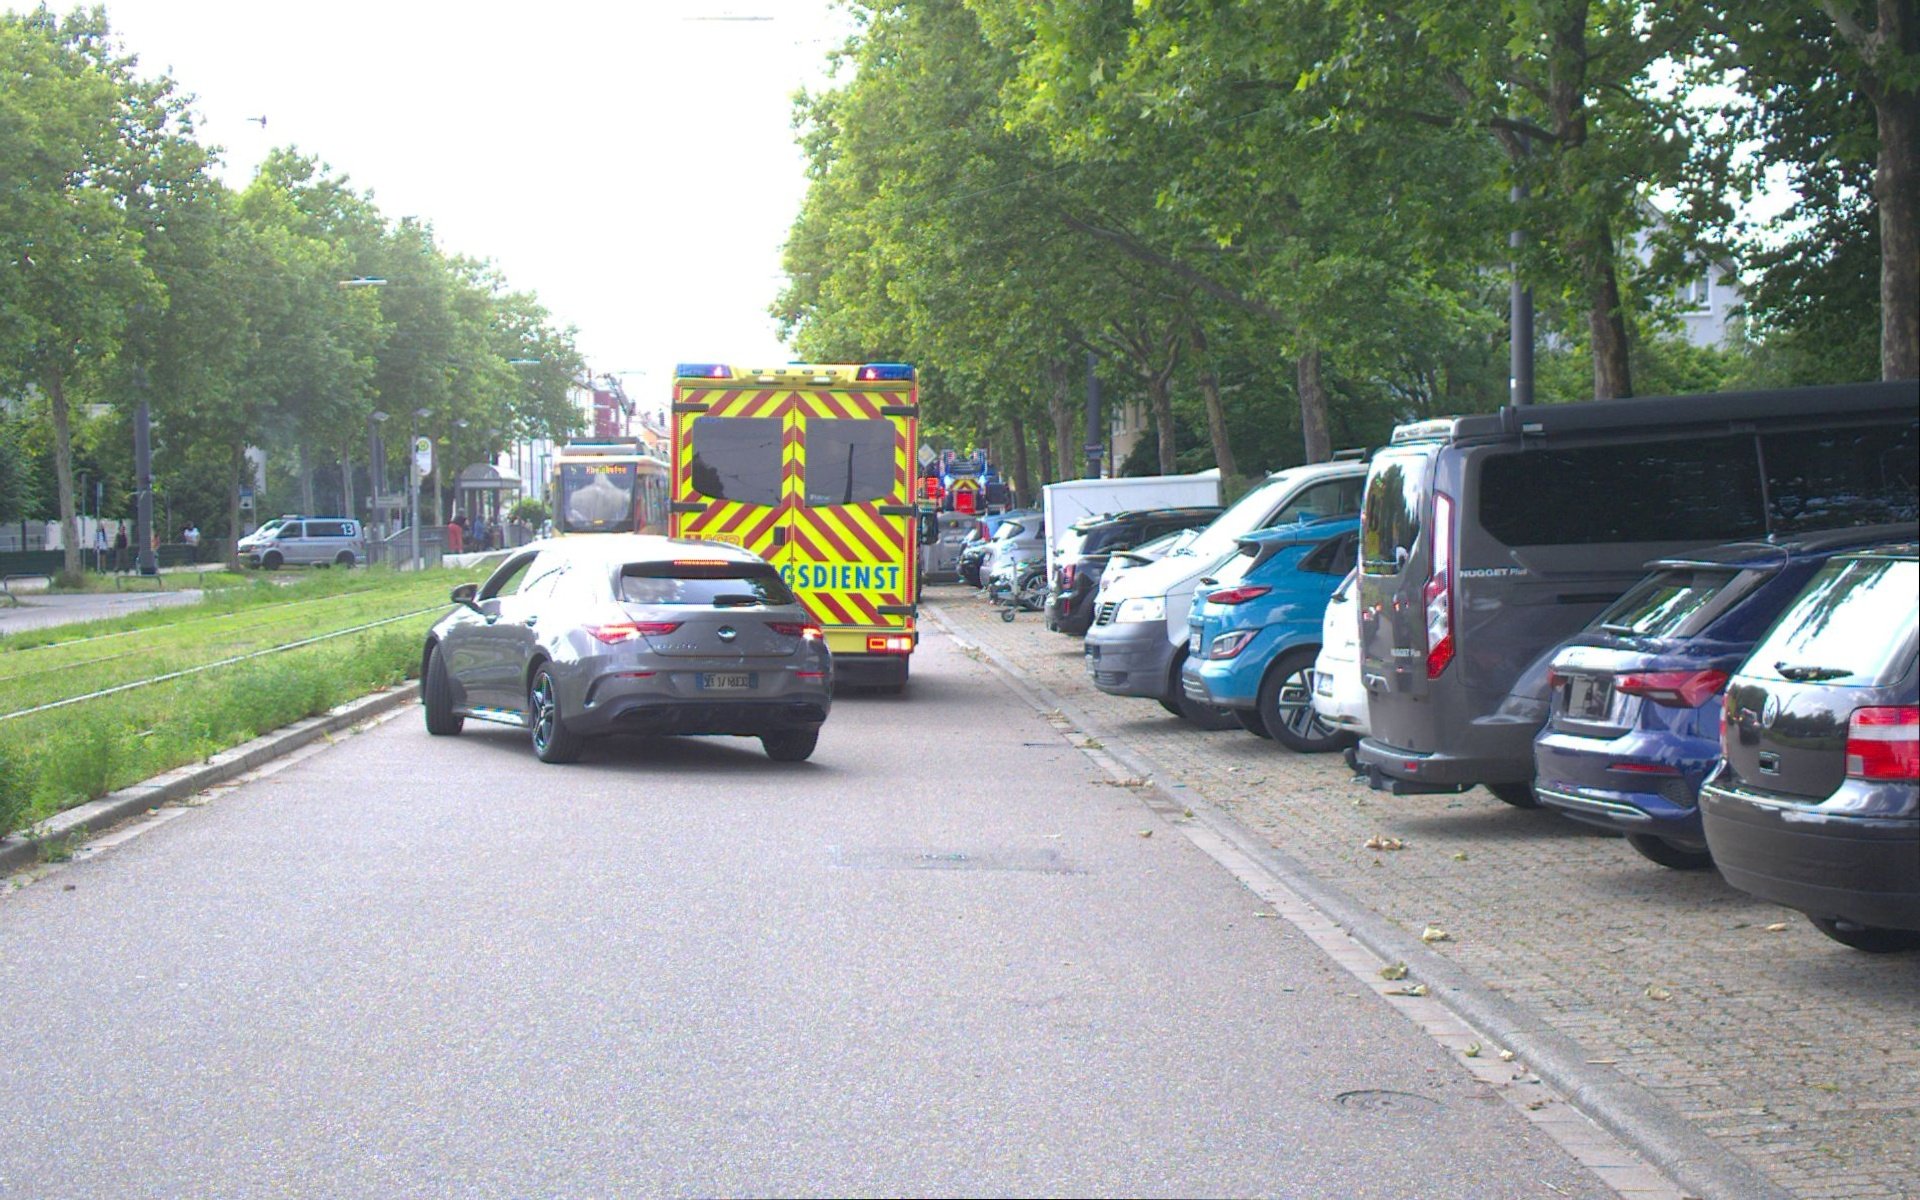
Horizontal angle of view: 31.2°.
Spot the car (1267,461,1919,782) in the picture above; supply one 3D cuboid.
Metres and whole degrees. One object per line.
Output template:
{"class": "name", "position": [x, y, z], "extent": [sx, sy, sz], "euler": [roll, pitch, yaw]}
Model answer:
{"class": "car", "position": [4.284, 0.086, 21.023], "extent": [4.545, 1.760, 1.856], "euler": [-2, 1, -2]}

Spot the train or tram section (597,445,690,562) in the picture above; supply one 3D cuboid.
{"class": "train or tram section", "position": [-10.173, -3.048, 111.114], "extent": [2.511, 3.572, 7.446], "euler": [-2, 1, -2]}

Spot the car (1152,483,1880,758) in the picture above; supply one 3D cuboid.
{"class": "car", "position": [3.740, 0.106, 23.543], "extent": [4.545, 1.654, 1.856], "euler": [-2, 1, -6]}

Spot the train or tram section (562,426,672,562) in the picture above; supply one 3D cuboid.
{"class": "train or tram section", "position": [-9.538, -2.891, 96.237], "extent": [2.511, 3.572, 7.446], "euler": [-2, 1, -2]}

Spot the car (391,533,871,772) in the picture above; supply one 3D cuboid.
{"class": "car", "position": [-2.315, 0.283, 22.967], "extent": [1.760, 1.381, 4.469], "euler": [1, 1, -25]}

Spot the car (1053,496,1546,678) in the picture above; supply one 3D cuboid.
{"class": "car", "position": [3.324, -0.152, 34.137], "extent": [4.545, 1.603, 1.856], "euler": [-2, 1, -6]}

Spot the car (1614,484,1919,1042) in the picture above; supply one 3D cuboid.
{"class": "car", "position": [4.348, 0.386, 11.140], "extent": [3.964, 1.600, 1.757], "euler": [-2, 1, -12]}

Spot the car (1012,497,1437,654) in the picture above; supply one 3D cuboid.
{"class": "car", "position": [2.979, -0.296, 39.285], "extent": [4.545, 1.603, 1.856], "euler": [-2, 1, -6]}

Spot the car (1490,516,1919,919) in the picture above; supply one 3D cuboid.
{"class": "car", "position": [4.319, 0.391, 13.995], "extent": [3.965, 1.489, 1.756], "euler": [-2, 1, -2]}

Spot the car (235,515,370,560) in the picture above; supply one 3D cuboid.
{"class": "car", "position": [-24.668, -2.350, 129.013], "extent": [4.615, 1.627, 1.882], "euler": [-2, 2, -41]}

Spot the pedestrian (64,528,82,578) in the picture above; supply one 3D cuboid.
{"class": "pedestrian", "position": [-26.485, -1.413, 102.657], "extent": [0.421, 1.468, 0.467], "euler": [-1, 1, -7]}

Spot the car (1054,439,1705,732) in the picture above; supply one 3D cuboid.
{"class": "car", "position": [3.113, -0.138, 26.058], "extent": [4.545, 1.994, 1.856], "euler": [-2, 1, -6]}

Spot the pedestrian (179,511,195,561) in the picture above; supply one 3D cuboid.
{"class": "pedestrian", "position": [-28.504, -2.366, 126.819], "extent": [0.466, 1.822, 0.423], "euler": [-1, 1, -4]}

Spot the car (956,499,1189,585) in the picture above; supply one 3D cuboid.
{"class": "car", "position": [2.285, -1.194, 70.681], "extent": [4.545, 1.603, 1.856], "euler": [-2, 1, -6]}

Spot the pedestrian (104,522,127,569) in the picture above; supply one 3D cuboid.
{"class": "pedestrian", "position": [-28.067, -1.806, 114.283], "extent": [0.632, 1.545, 0.622], "euler": [-1, 1, -4]}

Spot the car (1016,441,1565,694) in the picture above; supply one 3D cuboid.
{"class": "car", "position": [2.890, -0.308, 30.646], "extent": [4.545, 2.036, 1.856], "euler": [-2, 1, -6]}

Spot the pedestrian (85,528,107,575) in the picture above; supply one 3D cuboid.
{"class": "pedestrian", "position": [-26.283, -1.471, 104.540], "extent": [0.422, 1.409, 0.467], "euler": [0, 1, 23]}

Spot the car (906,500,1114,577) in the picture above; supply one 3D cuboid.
{"class": "car", "position": [1.122, -1.425, 78.885], "extent": [4.545, 1.603, 1.856], "euler": [-2, 1, -6]}

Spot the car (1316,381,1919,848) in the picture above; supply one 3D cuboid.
{"class": "car", "position": [4.196, 0.013, 17.119], "extent": [4.545, 2.116, 1.856], "euler": [-2, 1, -2]}

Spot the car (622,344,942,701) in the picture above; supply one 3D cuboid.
{"class": "car", "position": [-1.556, -0.724, 32.539], "extent": [2.641, 2.956, 6.300], "euler": [2, 1, -1]}

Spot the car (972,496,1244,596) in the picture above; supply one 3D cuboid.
{"class": "car", "position": [2.599, -0.965, 60.836], "extent": [4.545, 1.603, 1.856], "euler": [-2, 1, -6]}

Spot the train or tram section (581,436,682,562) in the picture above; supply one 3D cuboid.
{"class": "train or tram section", "position": [-9.859, -2.970, 103.677], "extent": [2.511, 3.572, 7.446], "euler": [-2, 1, -2]}

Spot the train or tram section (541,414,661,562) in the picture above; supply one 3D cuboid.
{"class": "train or tram section", "position": [-9.209, -2.813, 88.811], "extent": [2.511, 3.572, 7.446], "euler": [-2, 1, -2]}
